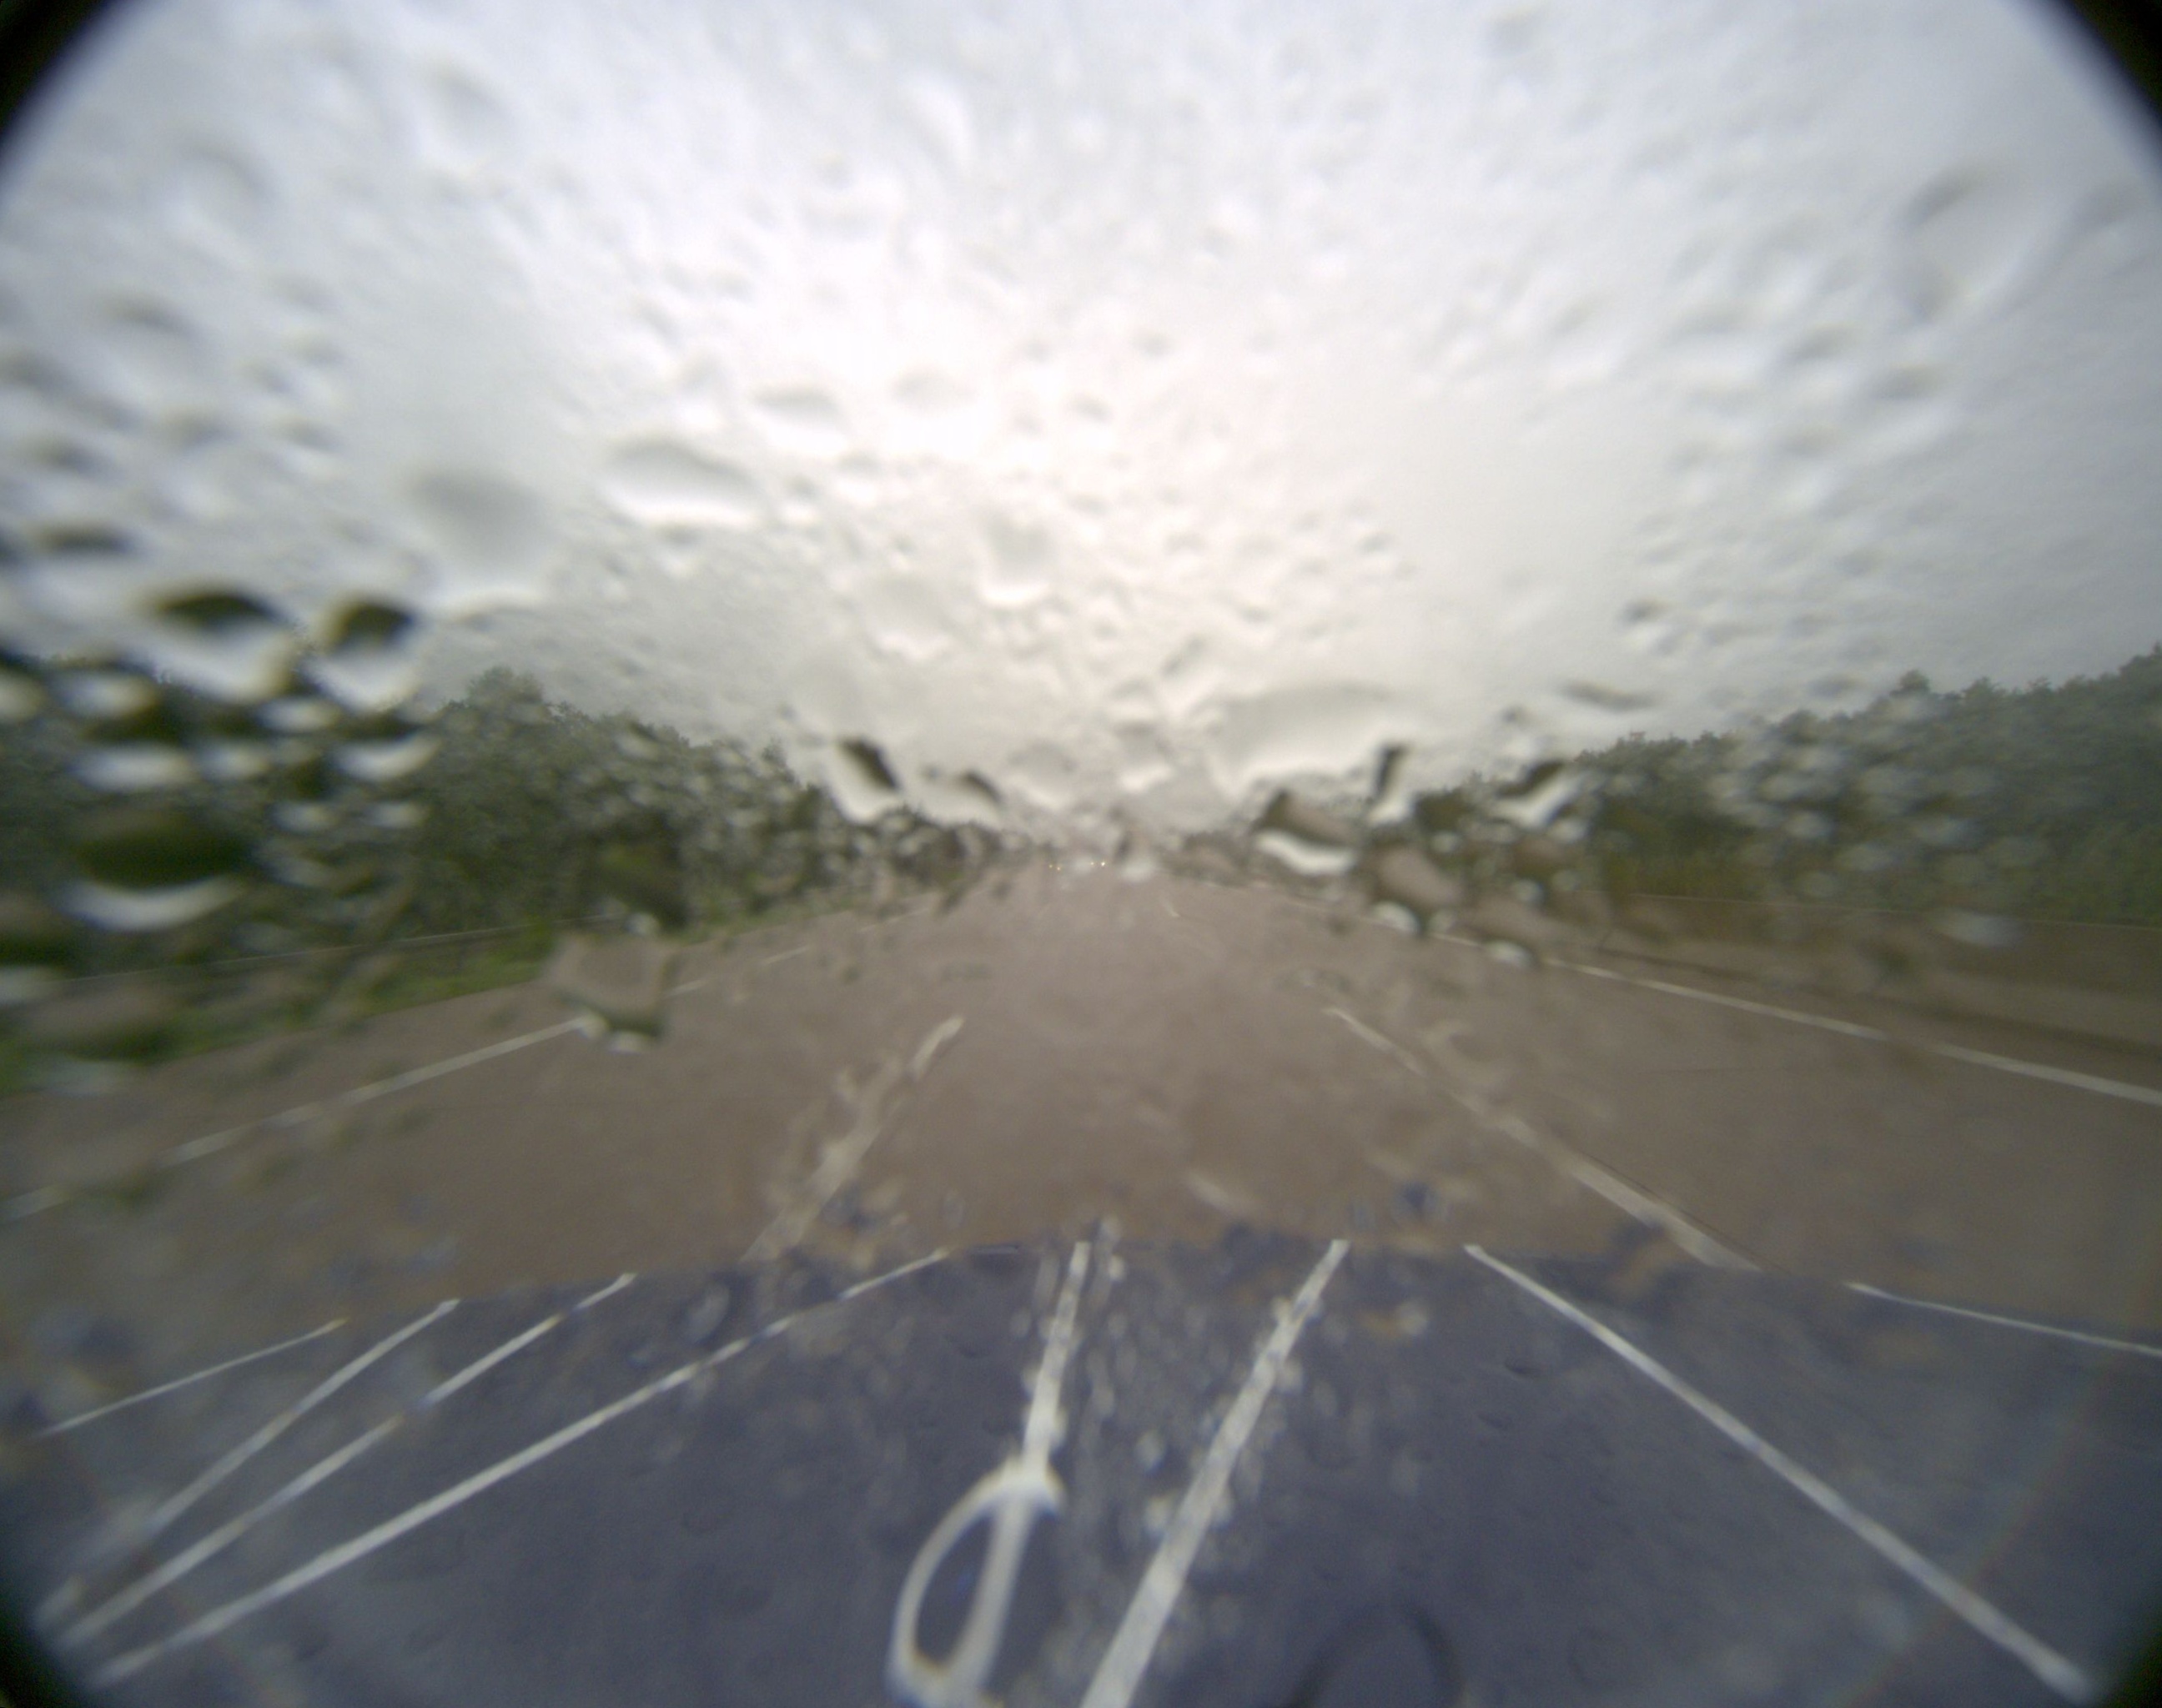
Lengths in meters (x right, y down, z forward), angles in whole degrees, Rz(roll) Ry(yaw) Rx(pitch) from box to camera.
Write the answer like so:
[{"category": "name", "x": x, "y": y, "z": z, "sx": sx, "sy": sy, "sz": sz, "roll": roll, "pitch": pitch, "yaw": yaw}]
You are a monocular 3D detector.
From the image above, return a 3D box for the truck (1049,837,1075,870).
[{"category": "truck", "x": -2.458, "y": -0.003, "z": 100.111, "sx": 2.887, "sy": 4.081, "sz": 6.352, "roll": 0, "pitch": -2, "yaw": 2}]

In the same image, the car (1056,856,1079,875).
[{"category": "car", "x": -1.253, "y": 1.064, "z": 74.092, "sx": 1.812, "sy": 1.718, "sz": 4.745, "roll": -2, "pitch": 0, "yaw": 3}]
